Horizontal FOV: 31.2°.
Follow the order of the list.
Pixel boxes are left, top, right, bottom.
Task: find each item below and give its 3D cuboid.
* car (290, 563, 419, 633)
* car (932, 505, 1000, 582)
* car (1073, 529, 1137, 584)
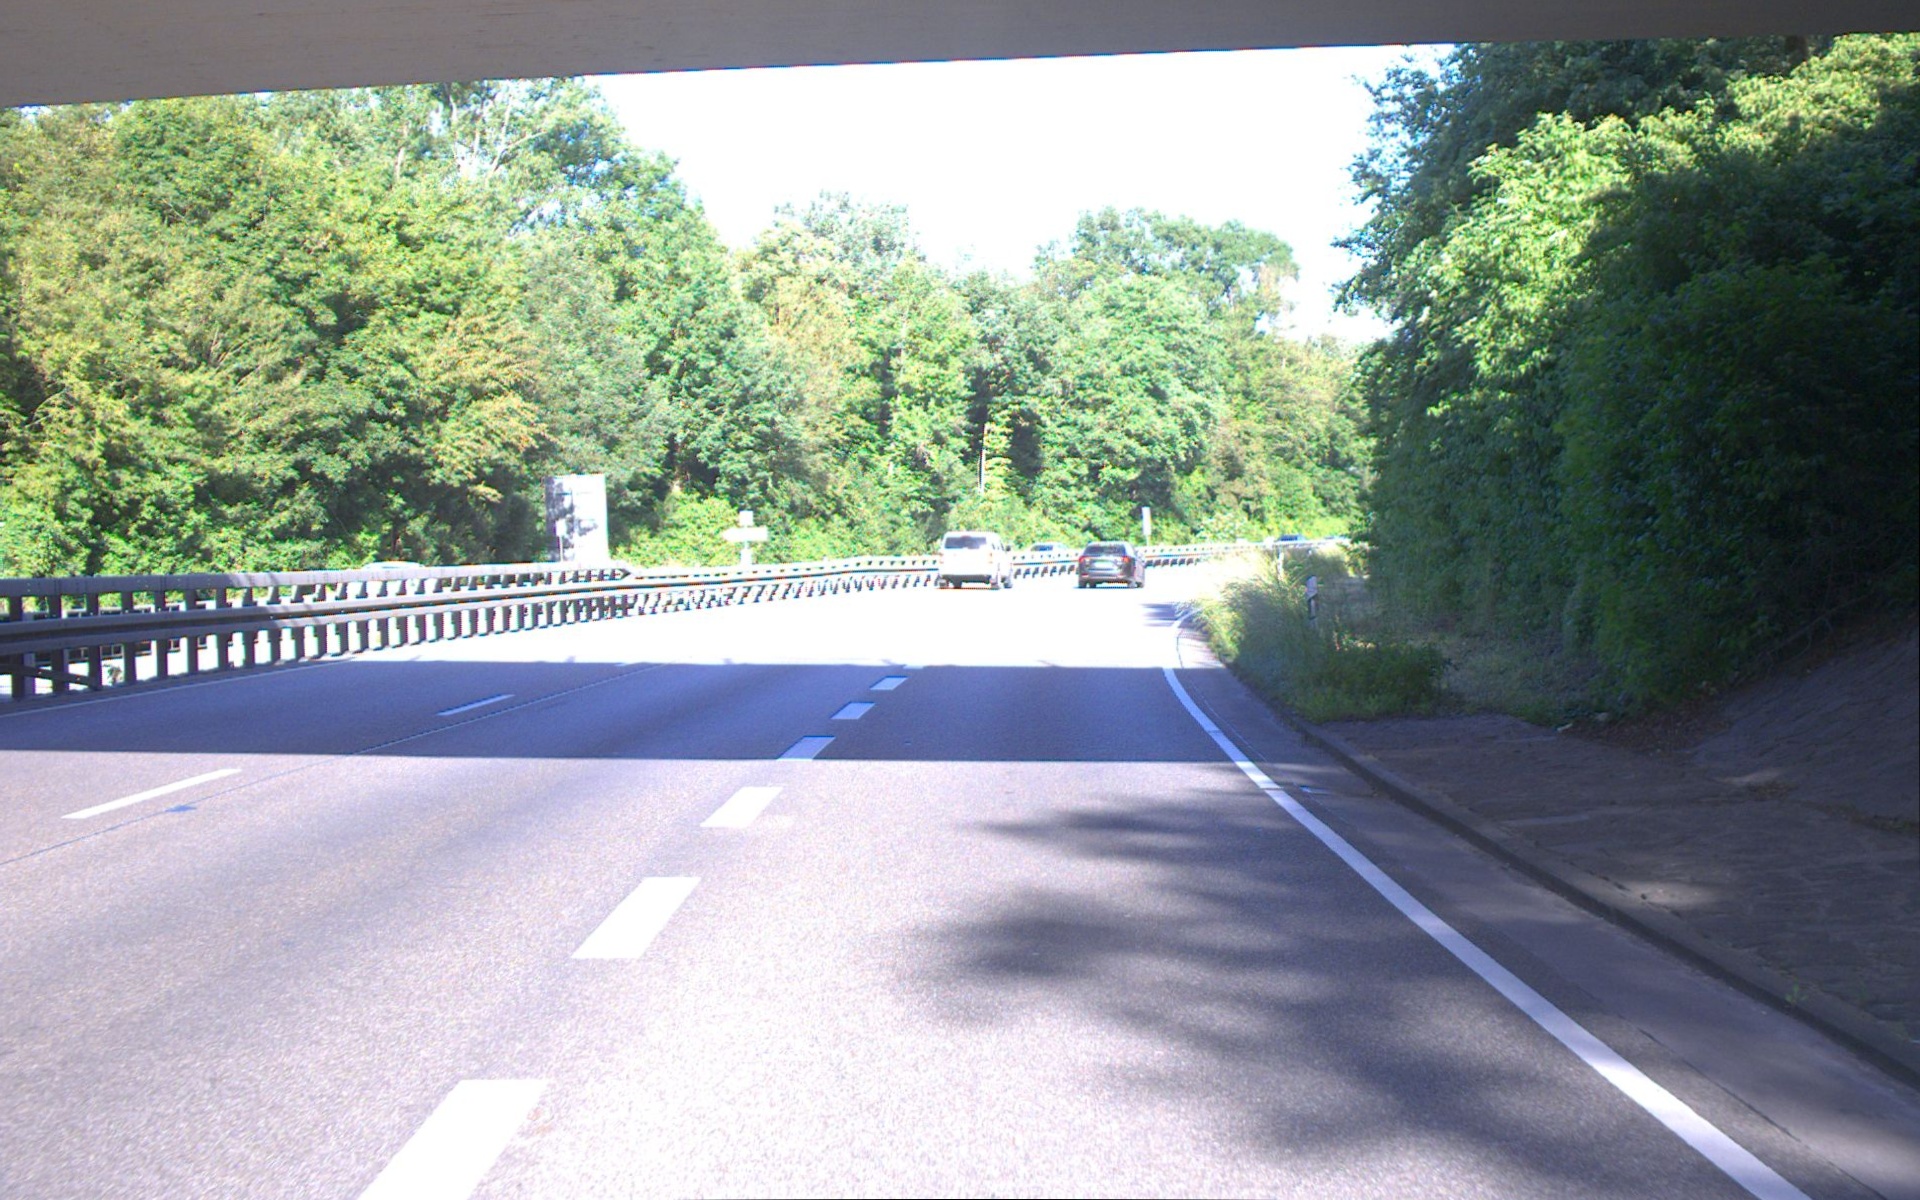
[{"bbox_3d":[-14.608,-0.071,83.215,1.994,1.588,4.727,0,1,4],"label":"car"},{"bbox_3d":[0.198,-1.728,105.370,1.993,2.270,4.000,-1,1,1],"label":"car"},{"bbox_3d":[4.601,-1.386,108.663,1.739,1.656,3.945,-1,1,6],"label":"car"}]
